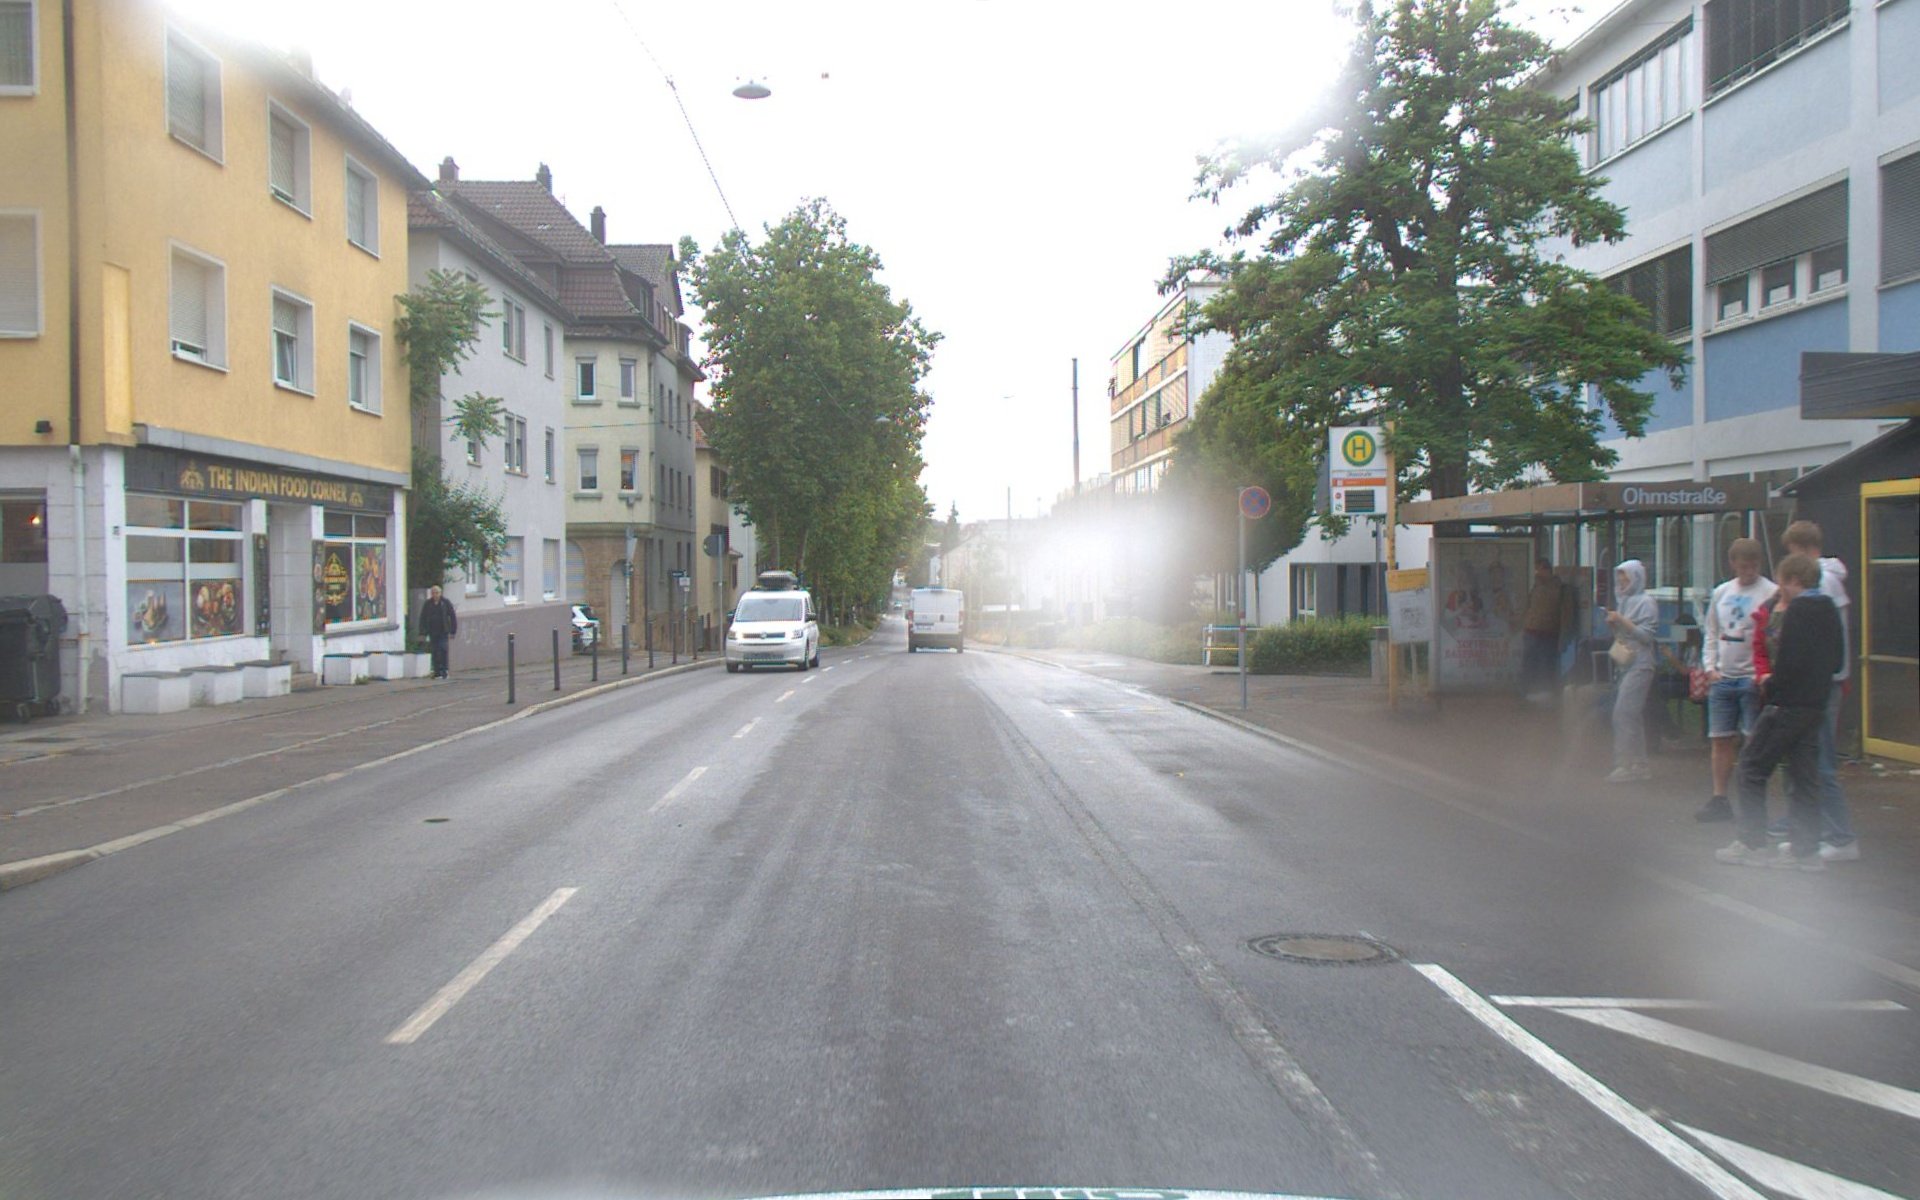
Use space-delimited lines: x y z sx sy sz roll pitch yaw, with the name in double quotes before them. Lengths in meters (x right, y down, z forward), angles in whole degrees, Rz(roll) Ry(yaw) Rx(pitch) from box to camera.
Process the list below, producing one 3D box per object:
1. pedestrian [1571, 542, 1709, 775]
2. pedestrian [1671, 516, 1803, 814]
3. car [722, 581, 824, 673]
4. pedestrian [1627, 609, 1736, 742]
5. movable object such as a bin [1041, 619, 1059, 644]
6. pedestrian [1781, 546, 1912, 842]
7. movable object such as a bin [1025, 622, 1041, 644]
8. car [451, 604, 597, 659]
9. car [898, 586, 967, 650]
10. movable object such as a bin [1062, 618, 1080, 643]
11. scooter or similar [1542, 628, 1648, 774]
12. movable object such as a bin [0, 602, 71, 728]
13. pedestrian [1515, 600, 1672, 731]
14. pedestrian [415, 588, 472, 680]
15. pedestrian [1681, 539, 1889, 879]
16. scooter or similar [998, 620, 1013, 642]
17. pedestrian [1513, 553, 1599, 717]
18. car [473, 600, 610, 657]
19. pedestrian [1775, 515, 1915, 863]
"pedestrian" 5.386 0.448 13.139 0.647 1.772 0.828 -2 0 -7
"pedestrian" 5.087 0.411 10.854 0.450 1.872 0.604 -3 0 -7
"car" -4.156 0.582 37.324 1.844 1.902 4.452 -1 0 -1
"pedestrian" 6.936 0.711 15.917 0.648 1.220 0.740 -2 0 -7
"movable object such as a bin" 4.029 1.402 74.035 0.681 1.101 0.778 -3 -1 -1
"pedestrian" 5.414 0.558 10.123 0.437 1.737 0.557 -3 0 3
"movable object such as a bin" 3.264 1.481 73.852 0.607 0.953 0.686 -3 -1 -1
"car" -13.269 0.941 50.565 3.907 1.478 1.999 3 0 -2
"car" -1.063 0.606 61.163 2.300 2.198 4.774 -1 1 -4
"movable object such as a bin" 4.984 1.356 74.118 0.681 1.101 0.778 -3 -1 -1
"scooter or similar" 5.312 0.834 13.855 0.606 1.160 0.567 -2 0 -7
"movable object such as a bin" -11.230 0.738 19.214 1.275 1.426 0.983 0 0 -2
"pedestrian" 6.666 0.669 17.443 1.329 1.295 0.740 -2 0 -7
"pedestrian" -9.721 0.640 31.149 0.799 1.709 0.992 0 -1 -4
"pedestrian" 4.497 0.564 9.027 0.629 1.740 0.740 -3 0 -35
"scooter or similar" 2.531 1.739 92.729 0.593 1.182 1.697 -1 -1 -6
"pedestrian" 6.956 0.398 19.327 0.634 1.863 0.740 -2 0 -7
"car" -14.176 0.963 56.180 4.098 1.733 1.999 3 0 -2
"pedestrian" 5.042 0.489 9.452 0.476 1.907 0.633 -3 0 14
